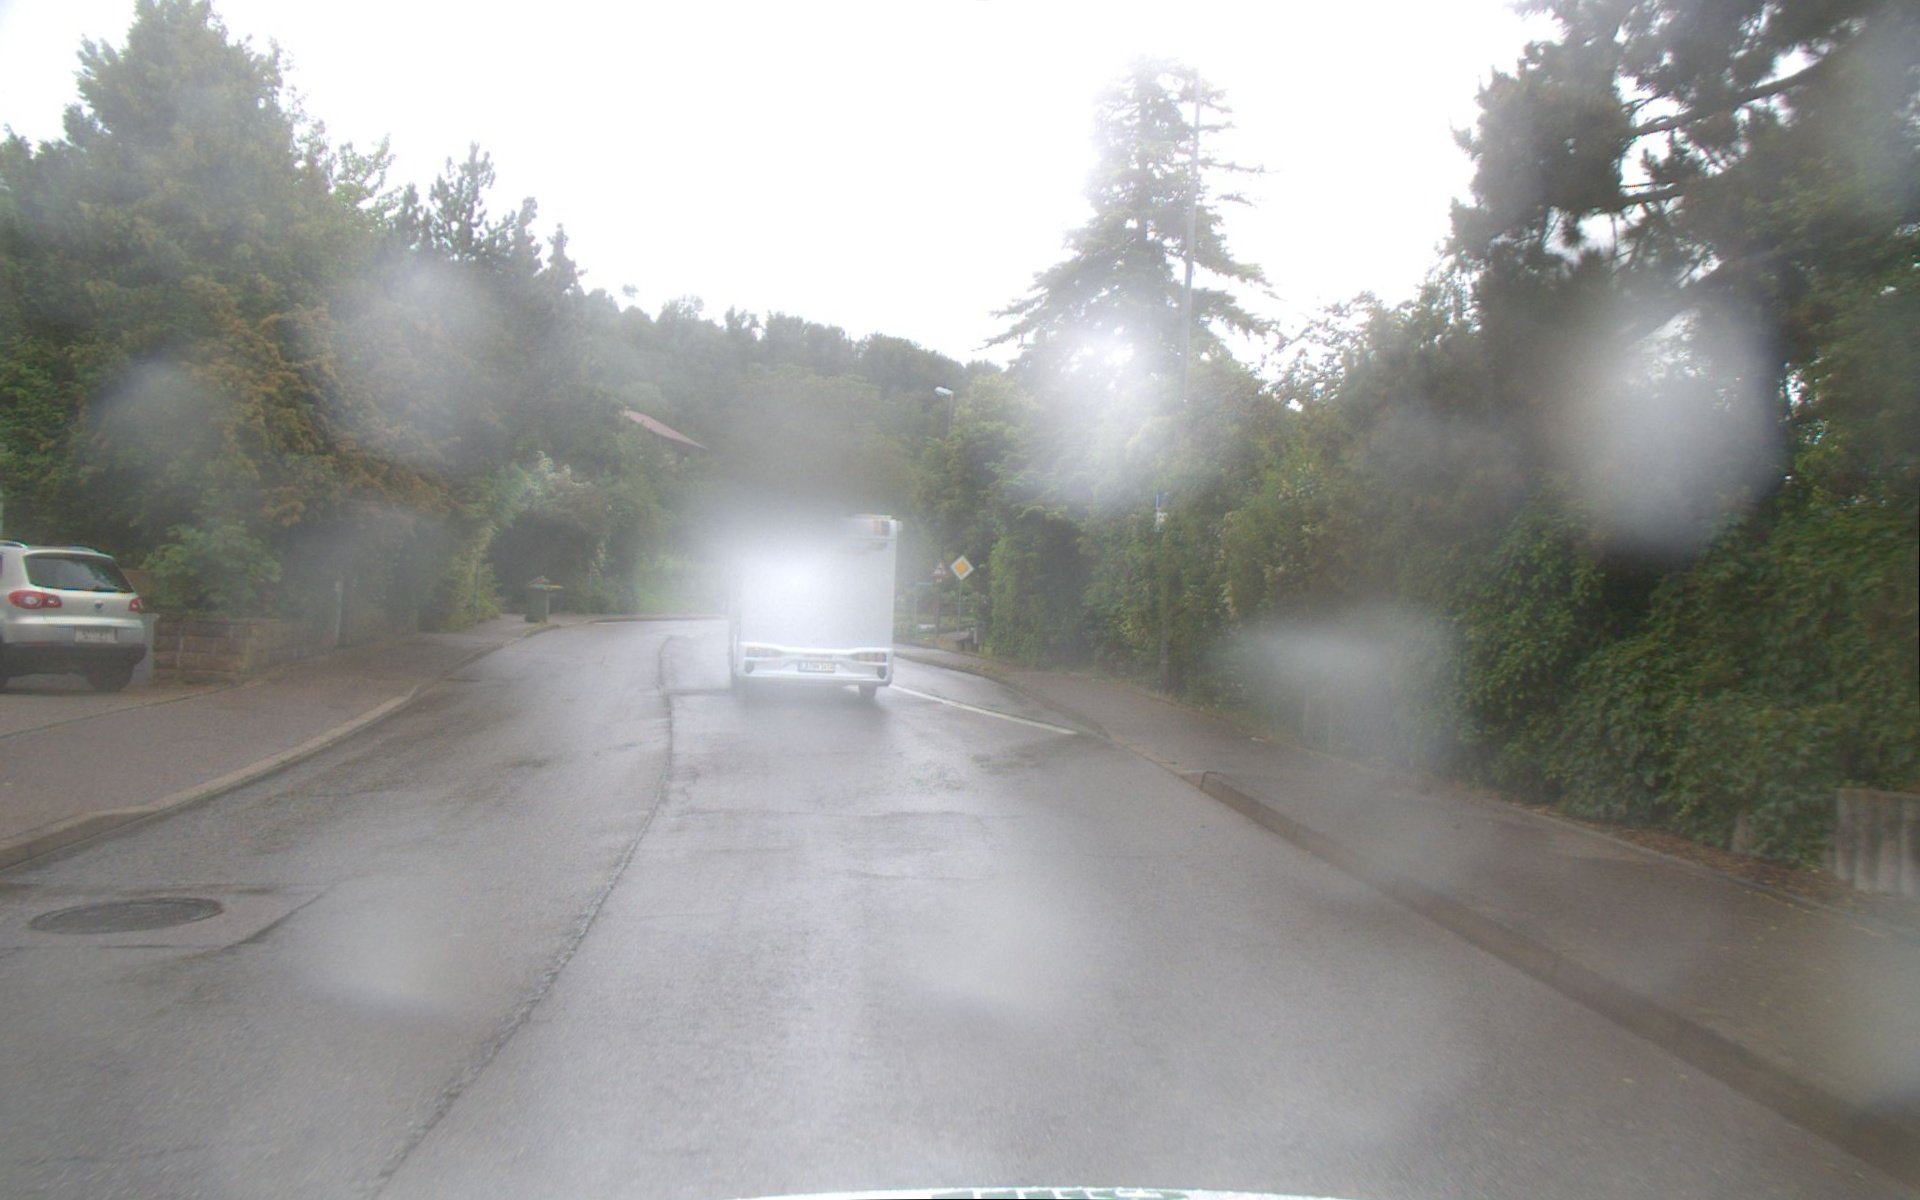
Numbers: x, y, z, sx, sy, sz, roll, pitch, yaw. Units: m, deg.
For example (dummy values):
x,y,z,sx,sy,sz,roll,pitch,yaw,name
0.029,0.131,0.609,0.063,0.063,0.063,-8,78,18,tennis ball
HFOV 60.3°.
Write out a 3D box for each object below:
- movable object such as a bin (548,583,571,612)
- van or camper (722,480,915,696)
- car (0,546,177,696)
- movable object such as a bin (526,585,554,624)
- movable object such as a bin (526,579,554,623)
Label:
x,y,z,sx,sy,sz,roll,pitch,yaw,name
-14.812,-0.094,61.186,0.741,1.040,0.742,2,0,-11,movable object such as a bin
-2.359,-0.090,26.046,2.567,2.903,6.020,2,-2,-8,van or camper
-11.340,0.278,19.457,3.855,1.612,1.862,-1,-2,26,car
-12.429,0.138,48.944,0.728,1.113,0.755,2,0,-12,movable object such as a bin
-12.631,0.020,49.769,0.728,1.275,0.755,2,0,-12,movable object such as a bin
